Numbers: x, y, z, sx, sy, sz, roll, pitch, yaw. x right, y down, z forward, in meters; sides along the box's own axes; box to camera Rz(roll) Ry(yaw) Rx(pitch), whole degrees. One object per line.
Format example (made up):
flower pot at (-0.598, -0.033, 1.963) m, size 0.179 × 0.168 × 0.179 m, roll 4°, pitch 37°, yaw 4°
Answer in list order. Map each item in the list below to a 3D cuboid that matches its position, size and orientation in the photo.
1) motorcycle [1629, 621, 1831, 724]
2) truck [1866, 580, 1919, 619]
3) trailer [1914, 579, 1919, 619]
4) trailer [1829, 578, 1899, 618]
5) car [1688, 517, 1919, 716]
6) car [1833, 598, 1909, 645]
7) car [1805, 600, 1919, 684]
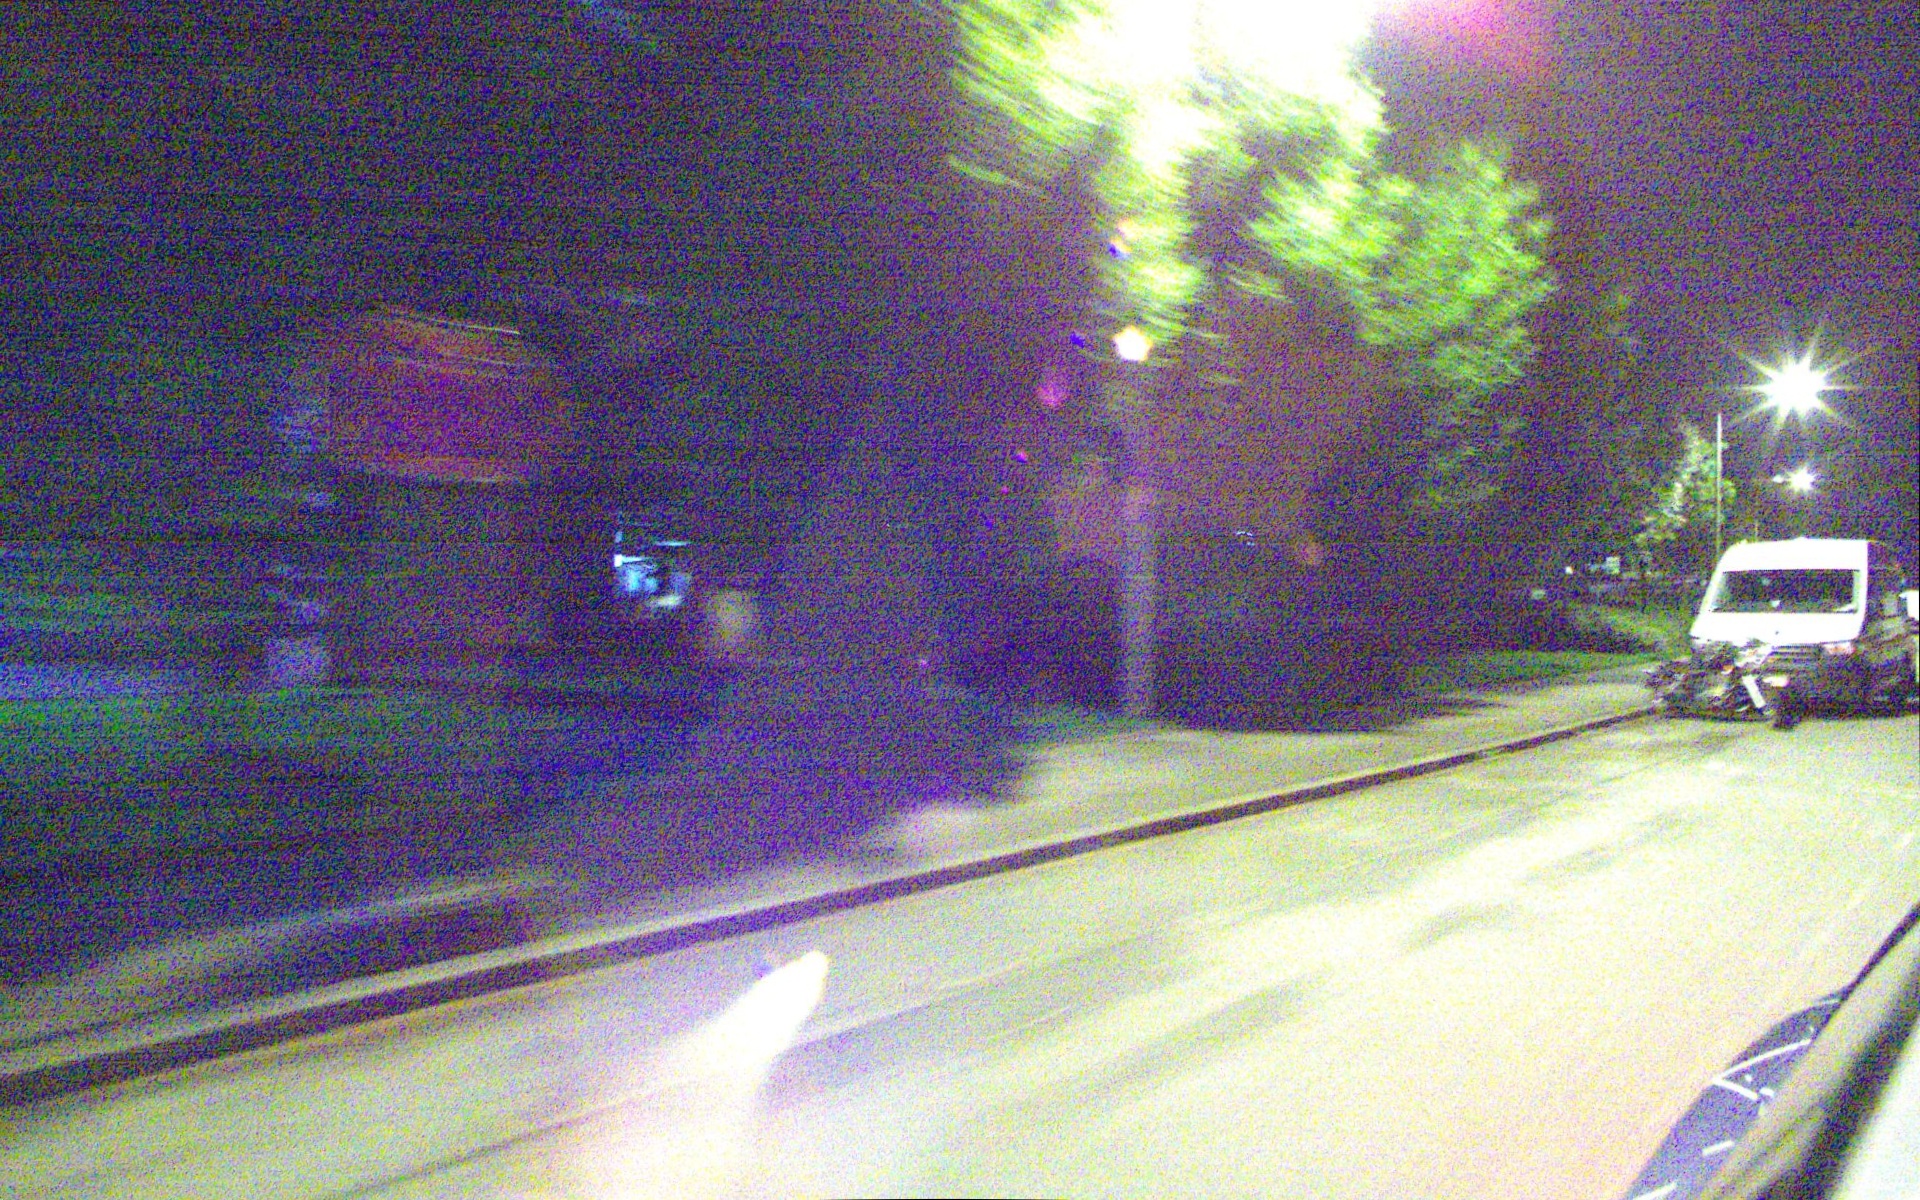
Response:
motorcycle at (9.983, 0.890, 13.260) m, size 0.753 × 1.198 × 2.188 m, roll 0°, pitch 0°, yaw -9°
truck at (71.143, -0.062, 76.479) m, size 1.980 × 2.819 × 7.179 m, roll 2°, pitch 1°, yaw 26°
trailer at (68.398, -0.006, 70.424) m, size 1.988 × 2.799 × 3.956 m, roll 3°, pitch 2°, yaw 31°
trailer at (75.217, -0.162, 84.359) m, size 2.468 × 3.111 × 7.874 m, roll 2°, pitch 1°, yaw 28°
car at (13.395, 0.211, 15.760) m, size 5.945 × 2.558 × 2.024 m, roll 0°, pitch 0°, yaw -41°
car at (31.642, 0.713, 35.234) m, size 1.707 × 1.527 × 3.944 m, roll 0°, pitch 0°, yaw 39°
car at (18.645, 0.801, 20.613) m, size 4.564 × 1.527 × 1.711 m, roll 0°, pitch -2°, yaw -44°
